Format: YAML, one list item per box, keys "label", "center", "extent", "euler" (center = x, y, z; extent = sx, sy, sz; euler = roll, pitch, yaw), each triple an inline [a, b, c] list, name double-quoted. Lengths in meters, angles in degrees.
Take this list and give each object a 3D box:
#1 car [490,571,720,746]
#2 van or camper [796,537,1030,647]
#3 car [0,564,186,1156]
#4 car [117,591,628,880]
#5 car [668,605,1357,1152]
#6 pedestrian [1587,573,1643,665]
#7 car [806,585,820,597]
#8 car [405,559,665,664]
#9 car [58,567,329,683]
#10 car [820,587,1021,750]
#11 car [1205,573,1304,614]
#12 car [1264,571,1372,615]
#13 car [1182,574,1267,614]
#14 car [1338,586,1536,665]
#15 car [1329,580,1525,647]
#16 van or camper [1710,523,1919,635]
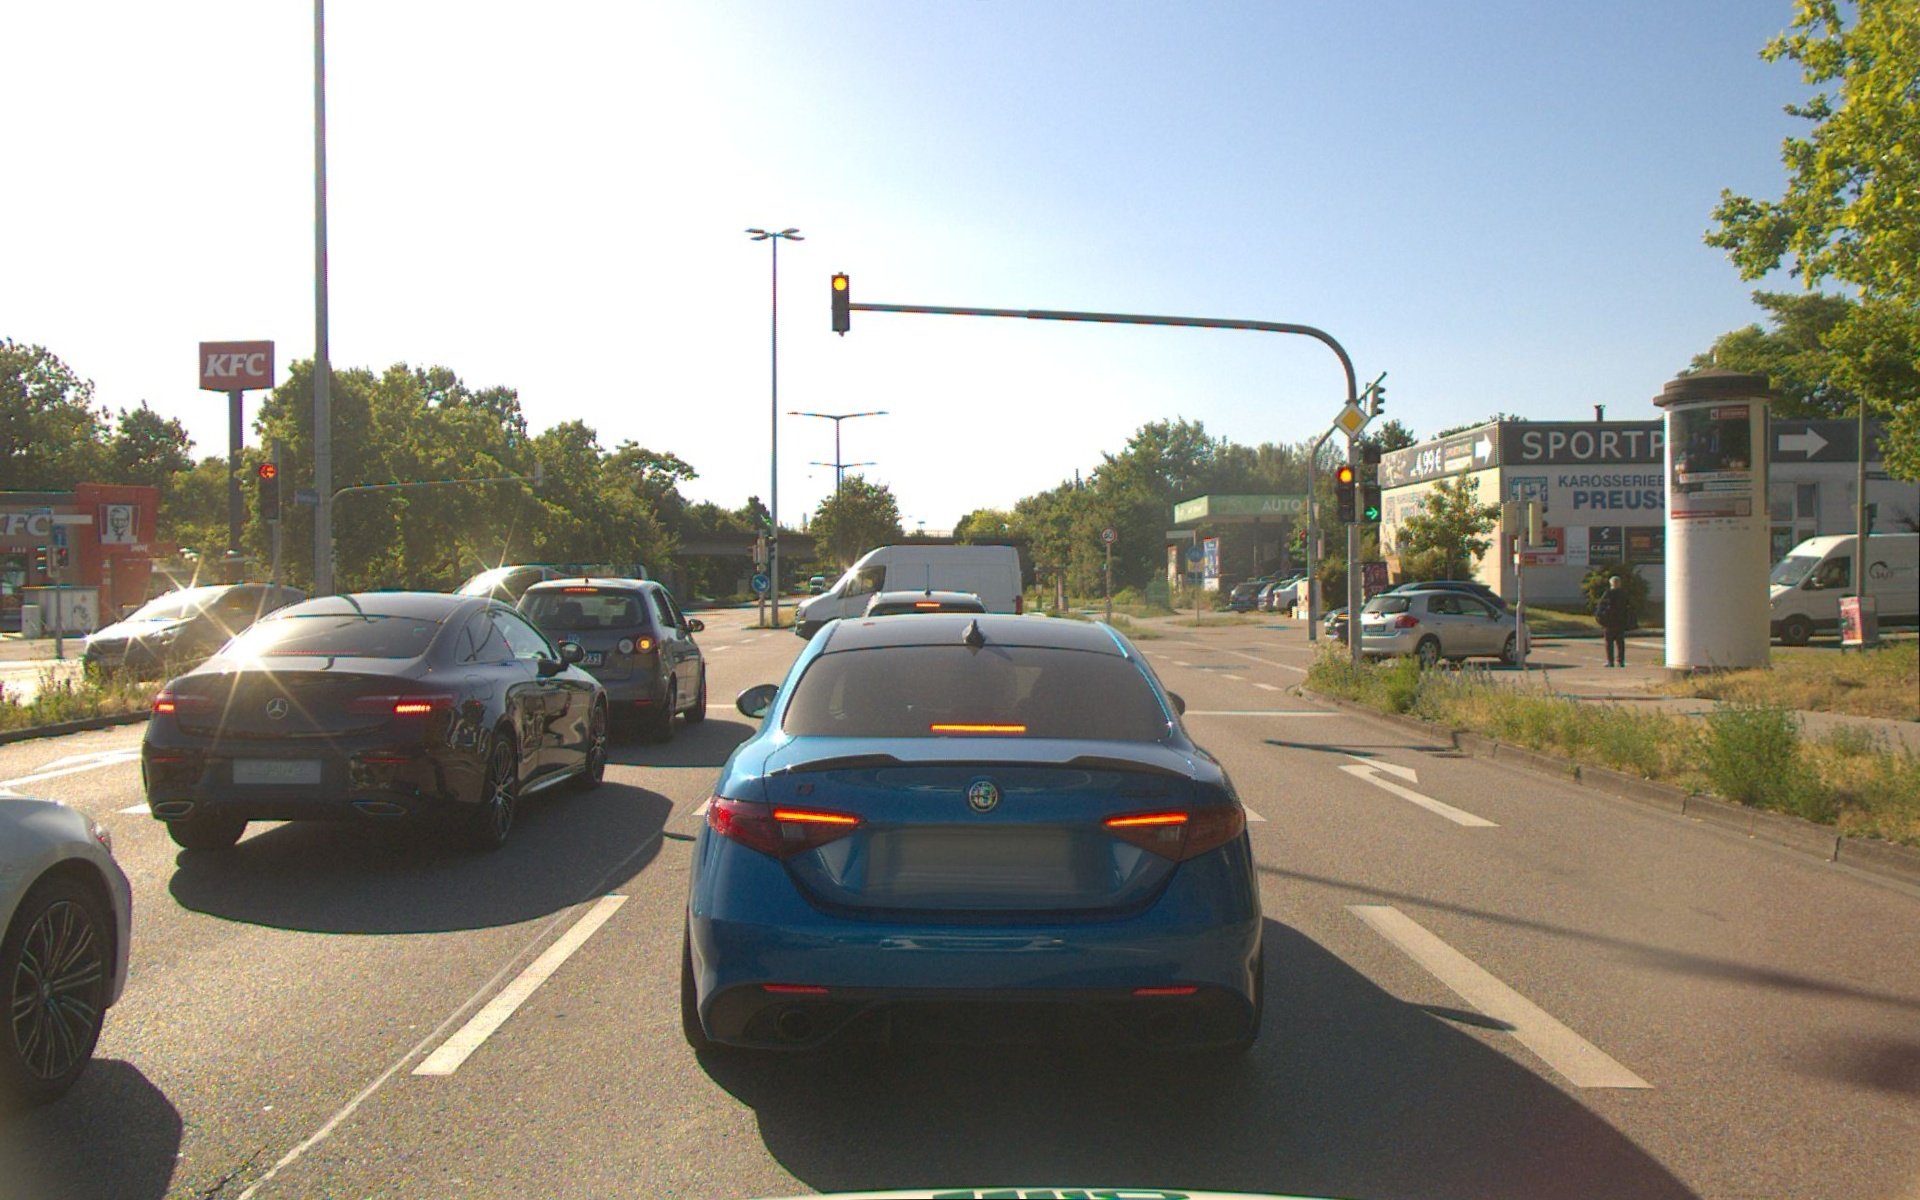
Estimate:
- label: "car"
  center: [-3.592, 0.527, 17.382]
  extent: [1.615, 1.626, 3.931]
  euler: [0, 0, -1]
- label: "van or camper"
  center: [-1.232, -0.206, 42.143]
  extent: [5.823, 2.697, 1.997]
  euler: [0, 0, -7]
- label: "car"
  center: [-3.342, 0.686, 3.107]
  extent: [1.732, 1.535, 4.460]
  euler: [0, 0, -1]
- label: "car"
  center: [-3.408, 0.672, 10.580]
  extent: [1.732, 1.439, 4.460]
  euler: [0, 0, -1]
- label: "car"
  center: [0.115, 0.749, 6.370]
  extent: [1.828, 1.409, 3.931]
  euler: [0, 0, -1]
- label: "pedestrian"
  center: [12.651, 0.354, 31.946]
  extent: [0.805, 1.752, 0.854]
  euler: [0, 0, 6]
- label: "car"
  center: [-21.009, -1.343, 236.834]
  extent: [1.786, 1.723, 3.834]
  euler: [0, 0, -3]
- label: "car"
  center: [-8.847, 0.204, 34.708]
  extent: [4.982, 2.049, 1.970]
  euler: [0, 0, -42]
- label: "car"
  center: [-12.210, 0.354, 26.709]
  extent: [1.839, 1.719, 4.440]
  euler: [0, 0, 8]
- label: "car"
  center: [-0.387, 0.610, 17.065]
  extent: [1.828, 1.475, 3.931]
  euler: [0, 0, -1]
- label: "car"
  center: [12.673, -0.272, 71.165]
  extent: [3.928, 1.736, 1.686]
  euler: [0, 0, -20]
- label: "car"
  center: [14.345, -0.283, 66.335]
  extent: [3.924, 1.736, 1.687]
  euler: [0, 0, -17]
- label: "car"
  center: [11.877, -0.267, 74.343]
  extent: [3.428, 1.736, 1.688]
  euler: [0, 0, -17]
- label: "car"
  center: [9.677, 0.484, 33.478]
  extent: [3.941, 1.503, 1.721]
  euler: [0, 0, -33]
- label: "car"
  center: [12.034, 0.340, 42.800]
  extent: [4.506, 1.682, 1.999]
  euler: [0, 0, -2]
- label: "van or camper"
  center: [21.878, -0.497, 39.911]
  extent: [6.594, 2.617, 2.185]
  euler: [0, 0, -1]
